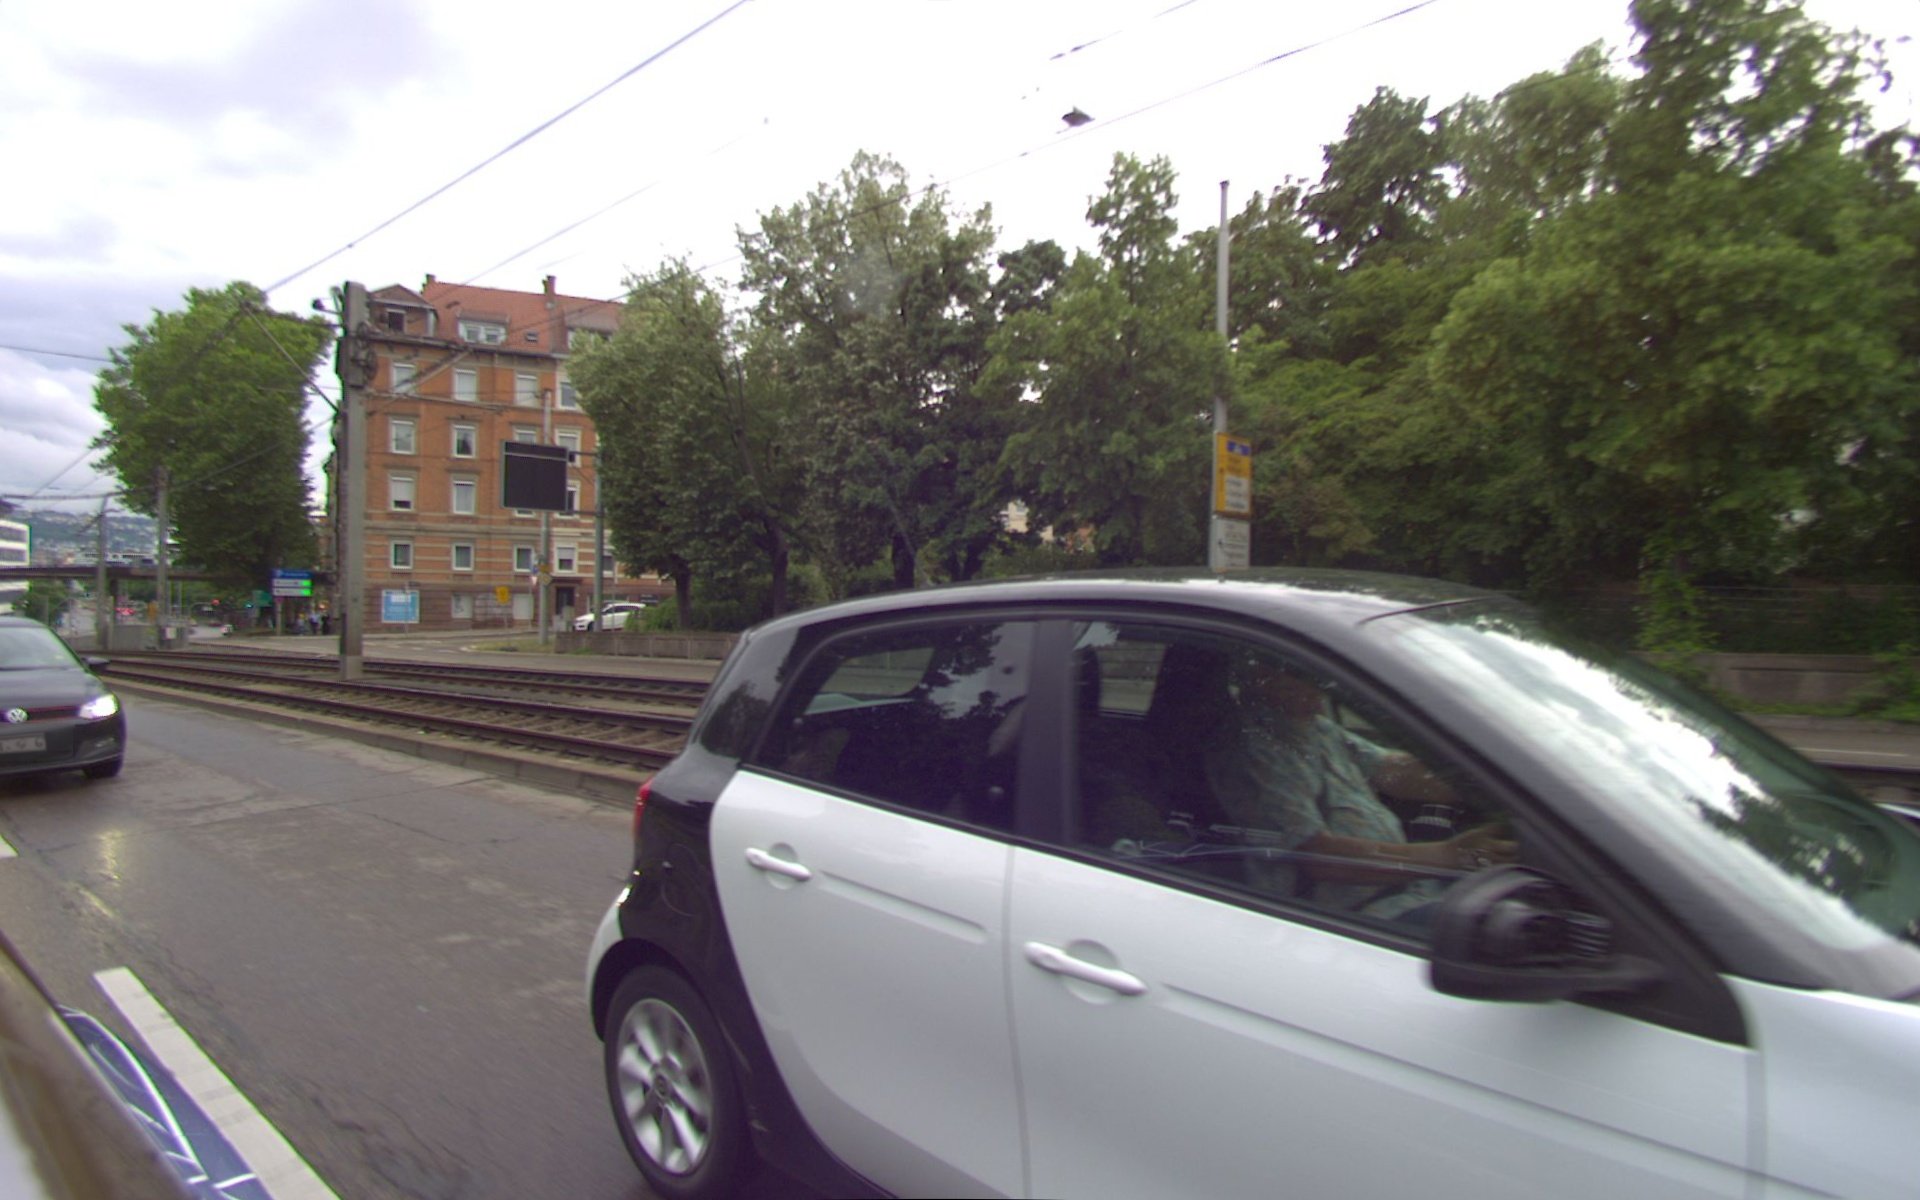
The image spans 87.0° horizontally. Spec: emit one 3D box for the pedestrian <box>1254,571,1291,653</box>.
[{"bbox_3d":[7.424,0.266,24.045,0.653,1.917,0.590,-1,1,40],"label":"pedestrian"}]

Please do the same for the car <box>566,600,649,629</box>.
[{"bbox_3d":[-20.724,0.820,59.528,4.361,1.610,1.847,-1,0,-28],"label":"car"}]

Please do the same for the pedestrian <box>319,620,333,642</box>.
[{"bbox_3d":[-40.152,1.939,64.122,0.538,1.364,0.612,-1,1,40],"label":"pedestrian"}]

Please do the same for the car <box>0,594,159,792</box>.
[{"bbox_3d":[-8.843,0.736,8.958,3.957,1.497,1.778,-1,0,36],"label":"car"}]

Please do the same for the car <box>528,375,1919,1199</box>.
[{"bbox_3d":[0.784,0.575,2.096,3.720,1.542,1.658,-1,-1,41],"label":"car"}]

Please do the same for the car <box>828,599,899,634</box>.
[{"bbox_3d":[-4.820,0.772,50.053,1.966,1.634,4.012,-2,1,-31],"label":"car"}]

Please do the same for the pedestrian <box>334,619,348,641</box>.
[{"bbox_3d":[-39.461,1.903,64.489,0.538,1.364,0.612,-2,-3,40],"label":"pedestrian"}]
